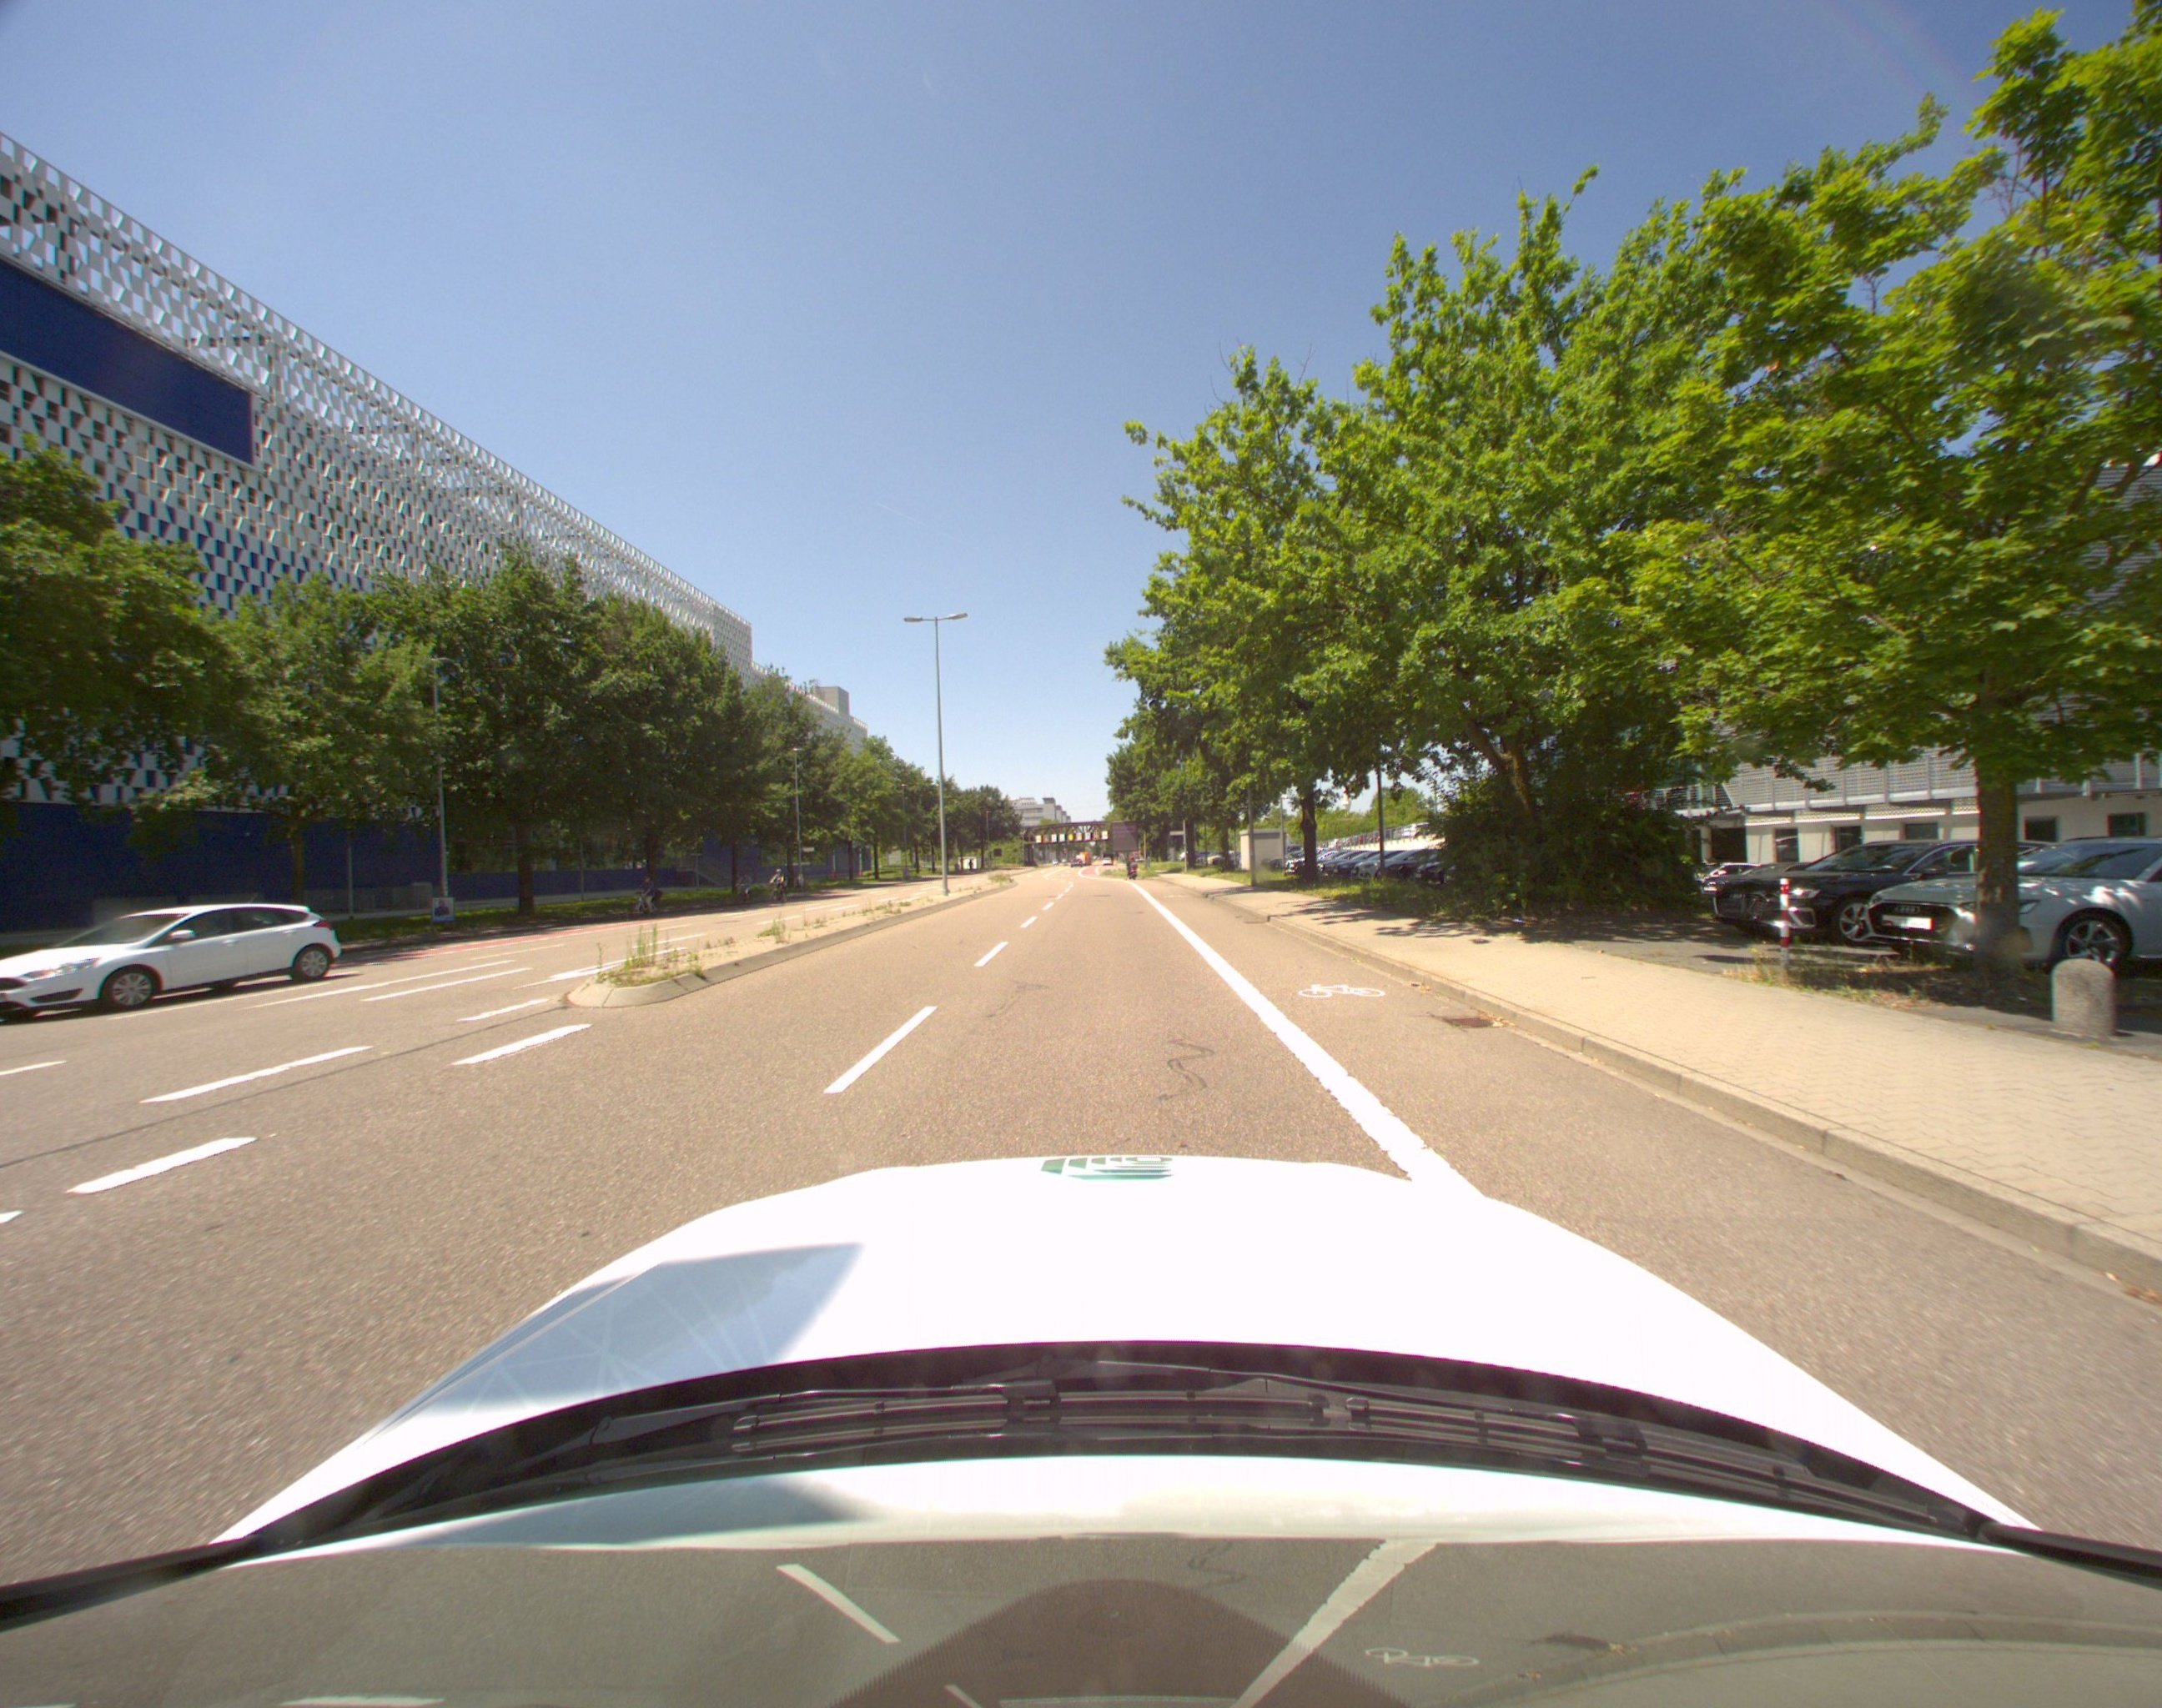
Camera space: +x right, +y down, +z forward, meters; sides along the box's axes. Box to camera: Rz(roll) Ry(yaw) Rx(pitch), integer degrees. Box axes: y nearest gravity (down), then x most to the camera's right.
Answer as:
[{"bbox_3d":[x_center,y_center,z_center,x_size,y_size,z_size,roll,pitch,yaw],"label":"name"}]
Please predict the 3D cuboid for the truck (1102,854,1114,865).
[{"bbox_3d":[5.626,1.130,172.277,2.449,2.410,7.136,0,0,1],"label":"truck"}]

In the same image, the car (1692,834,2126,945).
[{"bbox_3d":[11.321,0.449,11.378,4.216,1.401,1.817,0,0,1],"label":"car"}]

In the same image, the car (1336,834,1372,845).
[{"bbox_3d":[30.212,-1.595,90.295,3.513,1.239,1.541,0,-1,-1],"label":"car"}]

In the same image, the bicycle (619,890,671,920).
[{"bbox_3d":[-18.838,2.204,35.238,0.736,1.125,2.437,-2,0,4],"label":"bicycle"}]

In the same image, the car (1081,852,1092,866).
[{"bbox_3d":[1.152,1.037,165.973,2.066,2.854,6.765,-2,0,1],"label":"car"}]

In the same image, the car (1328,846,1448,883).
[{"bbox_3d":[12.486,0.426,33.357,4.206,1.407,1.918,1,0,1],"label":"car"}]

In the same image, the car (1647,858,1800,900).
[{"bbox_3d":[23.422,0.886,29.806,4.206,1.364,1.733,2,0,1],"label":"car"}]

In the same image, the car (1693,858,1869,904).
[{"bbox_3d":[23.307,0.883,27.239,4.206,1.362,1.918,2,0,1],"label":"car"}]

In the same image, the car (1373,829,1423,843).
[{"bbox_3d":[30.043,-1.698,77.227,3.978,1.312,1.795,0,0,-3],"label":"car"}]

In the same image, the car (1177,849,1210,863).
[{"bbox_3d":[14.246,0.227,102.989,3.852,1.604,1.795,3,-1,-3],"label":"car"}]

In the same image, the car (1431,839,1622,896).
[{"bbox_3d":[12.302,0.364,22.697,4.309,1.407,1.825,2,0,1],"label":"car"}]

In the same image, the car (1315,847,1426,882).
[{"bbox_3d":[12.667,0.461,35.832,4.206,1.369,1.989,2,0,1],"label":"car"}]

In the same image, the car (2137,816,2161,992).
[{"bbox_3d":[10.763,0.420,5.958,3.668,1.453,1.834,0,0,1],"label":"car"}]

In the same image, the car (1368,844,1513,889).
[{"bbox_3d":[12.410,0.424,28.330,4.206,1.407,1.918,2,0,1],"label":"car"}]

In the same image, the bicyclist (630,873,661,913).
[{"bbox_3d":[-18.857,1.675,35.272,0.741,1.685,0.953,-2,0,4],"label":"bicyclist"}]

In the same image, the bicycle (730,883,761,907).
[{"bbox_3d":[-17.409,2.116,42.335,0.634,1.134,1.973,-2,0,4],"label":"bicycle"}]

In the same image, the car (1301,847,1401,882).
[{"bbox_3d":[12.712,0.481,38.533,4.115,1.380,1.779,3,0,1],"label":"car"}]

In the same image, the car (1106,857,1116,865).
[{"bbox_3d":[5.621,1.265,153.314,1.917,1.420,4.000,-1,0,1],"label":"car"}]

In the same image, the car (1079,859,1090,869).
[{"bbox_3d":[0.692,1.952,156.798,1.888,1.816,4.001,-2,0,1],"label":"car"}]

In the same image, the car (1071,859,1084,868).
[{"bbox_3d":[-0.550,1.578,131.549,1.894,1.376,4.232,-2,0,1],"label":"car"}]

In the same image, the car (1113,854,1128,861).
[{"bbox_3d":[10.769,1.052,223.308,3.966,1.750,1.896,-2,0,6],"label":"car"}]

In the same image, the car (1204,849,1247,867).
[{"bbox_3d":[14.509,0.371,81.860,3.852,1.604,1.795,3,-1,-3],"label":"car"}]

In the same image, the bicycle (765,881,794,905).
[{"bbox_3d":[-15.744,2.019,42.620,0.627,1.159,2.117,-4,0,1],"label":"bicycle"}]

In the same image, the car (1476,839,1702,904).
[{"bbox_3d":[12.393,0.420,20.081,4.433,1.393,1.834,2,0,1],"label":"car"}]

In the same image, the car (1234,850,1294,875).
[{"bbox_3d":[13.630,0.622,60.781,3.978,1.618,1.795,3,-1,-3],"label":"car"}]

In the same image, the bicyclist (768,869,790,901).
[{"bbox_3d":[-15.776,1.602,42.543,0.631,1.629,1.044,-4,-1,1],"label":"bicyclist"}]

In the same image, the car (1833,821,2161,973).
[{"bbox_3d":[10.749,0.421,8.745,3.668,1.453,1.834,0,0,1],"label":"car"}]

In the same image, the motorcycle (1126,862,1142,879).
[{"bbox_3d":[3.541,1.120,54.662,0.716,1.105,1.825,0,-1,-8],"label":"motorcycle"}]

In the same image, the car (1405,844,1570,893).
[{"bbox_3d":[12.597,0.435,25.410,4.206,1.356,1.880,2,0,1],"label":"car"}]

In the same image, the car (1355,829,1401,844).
[{"bbox_3d":[30.177,-1.795,82.834,3.978,1.312,1.795,-2,0,-3],"label":"car"}]

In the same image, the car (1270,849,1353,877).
[{"bbox_3d":[13.120,0.514,46.506,4.206,1.452,1.918,2,0,1],"label":"car"}]

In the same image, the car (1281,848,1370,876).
[{"bbox_3d":[13.097,0.412,43.792,4.206,1.342,1.918,2,0,1],"label":"car"}]

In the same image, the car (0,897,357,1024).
[{"bbox_3d":[-14.359,1.552,12.908,1.721,1.446,4.451,-4,-1,0],"label":"car"}]

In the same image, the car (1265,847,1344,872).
[{"bbox_3d":[13.385,0.332,48.884,4.206,1.342,1.918,2,0,1],"label":"car"}]

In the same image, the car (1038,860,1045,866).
[{"bbox_3d":[-11.690,2.665,240.280,1.710,1.732,3.805,-2,0,-1],"label":"car"}]

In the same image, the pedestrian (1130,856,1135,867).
[{"bbox_3d":[6.506,0.932,102.646,0.622,1.374,0.564,-2,-1,0],"label":"pedestrian"}]

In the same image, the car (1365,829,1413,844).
[{"bbox_3d":[30.155,-1.711,79.882,3.978,1.312,1.795,-2,0,-3],"label":"car"}]

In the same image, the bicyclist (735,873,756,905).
[{"bbox_3d":[-17.422,1.819,42.280,0.634,1.582,0.885,-2,-1,4],"label":"bicyclist"}]

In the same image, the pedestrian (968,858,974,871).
[{"bbox_3d":[-16.793,1.614,123.856,0.741,1.884,0.578,-2,-1,2],"label":"pedestrian"}]

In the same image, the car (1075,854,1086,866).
[{"bbox_3d":[-0.053,1.105,145.687,1.987,2.014,4.000,-1,0,1],"label":"car"}]

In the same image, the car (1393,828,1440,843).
[{"bbox_3d":[29.763,-1.623,72.265,3.515,1.239,1.675,0,0,-3],"label":"car"}]

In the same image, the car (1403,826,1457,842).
[{"bbox_3d":[29.757,-1.691,69.521,3.930,1.211,1.715,-1,0,-3],"label":"car"}]

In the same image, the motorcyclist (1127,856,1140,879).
[{"bbox_3d":[3.539,0.908,54.665,0.719,1.529,0.868,0,-1,-8],"label":"motorcyclist"}]

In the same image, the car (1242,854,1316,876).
[{"bbox_3d":[12.475,0.665,51.458,4.206,1.342,1.918,0,0,1],"label":"car"}]

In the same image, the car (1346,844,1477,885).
[{"bbox_3d":[12.427,0.392,30.834,4.206,1.407,1.918,2,0,1],"label":"car"}]
